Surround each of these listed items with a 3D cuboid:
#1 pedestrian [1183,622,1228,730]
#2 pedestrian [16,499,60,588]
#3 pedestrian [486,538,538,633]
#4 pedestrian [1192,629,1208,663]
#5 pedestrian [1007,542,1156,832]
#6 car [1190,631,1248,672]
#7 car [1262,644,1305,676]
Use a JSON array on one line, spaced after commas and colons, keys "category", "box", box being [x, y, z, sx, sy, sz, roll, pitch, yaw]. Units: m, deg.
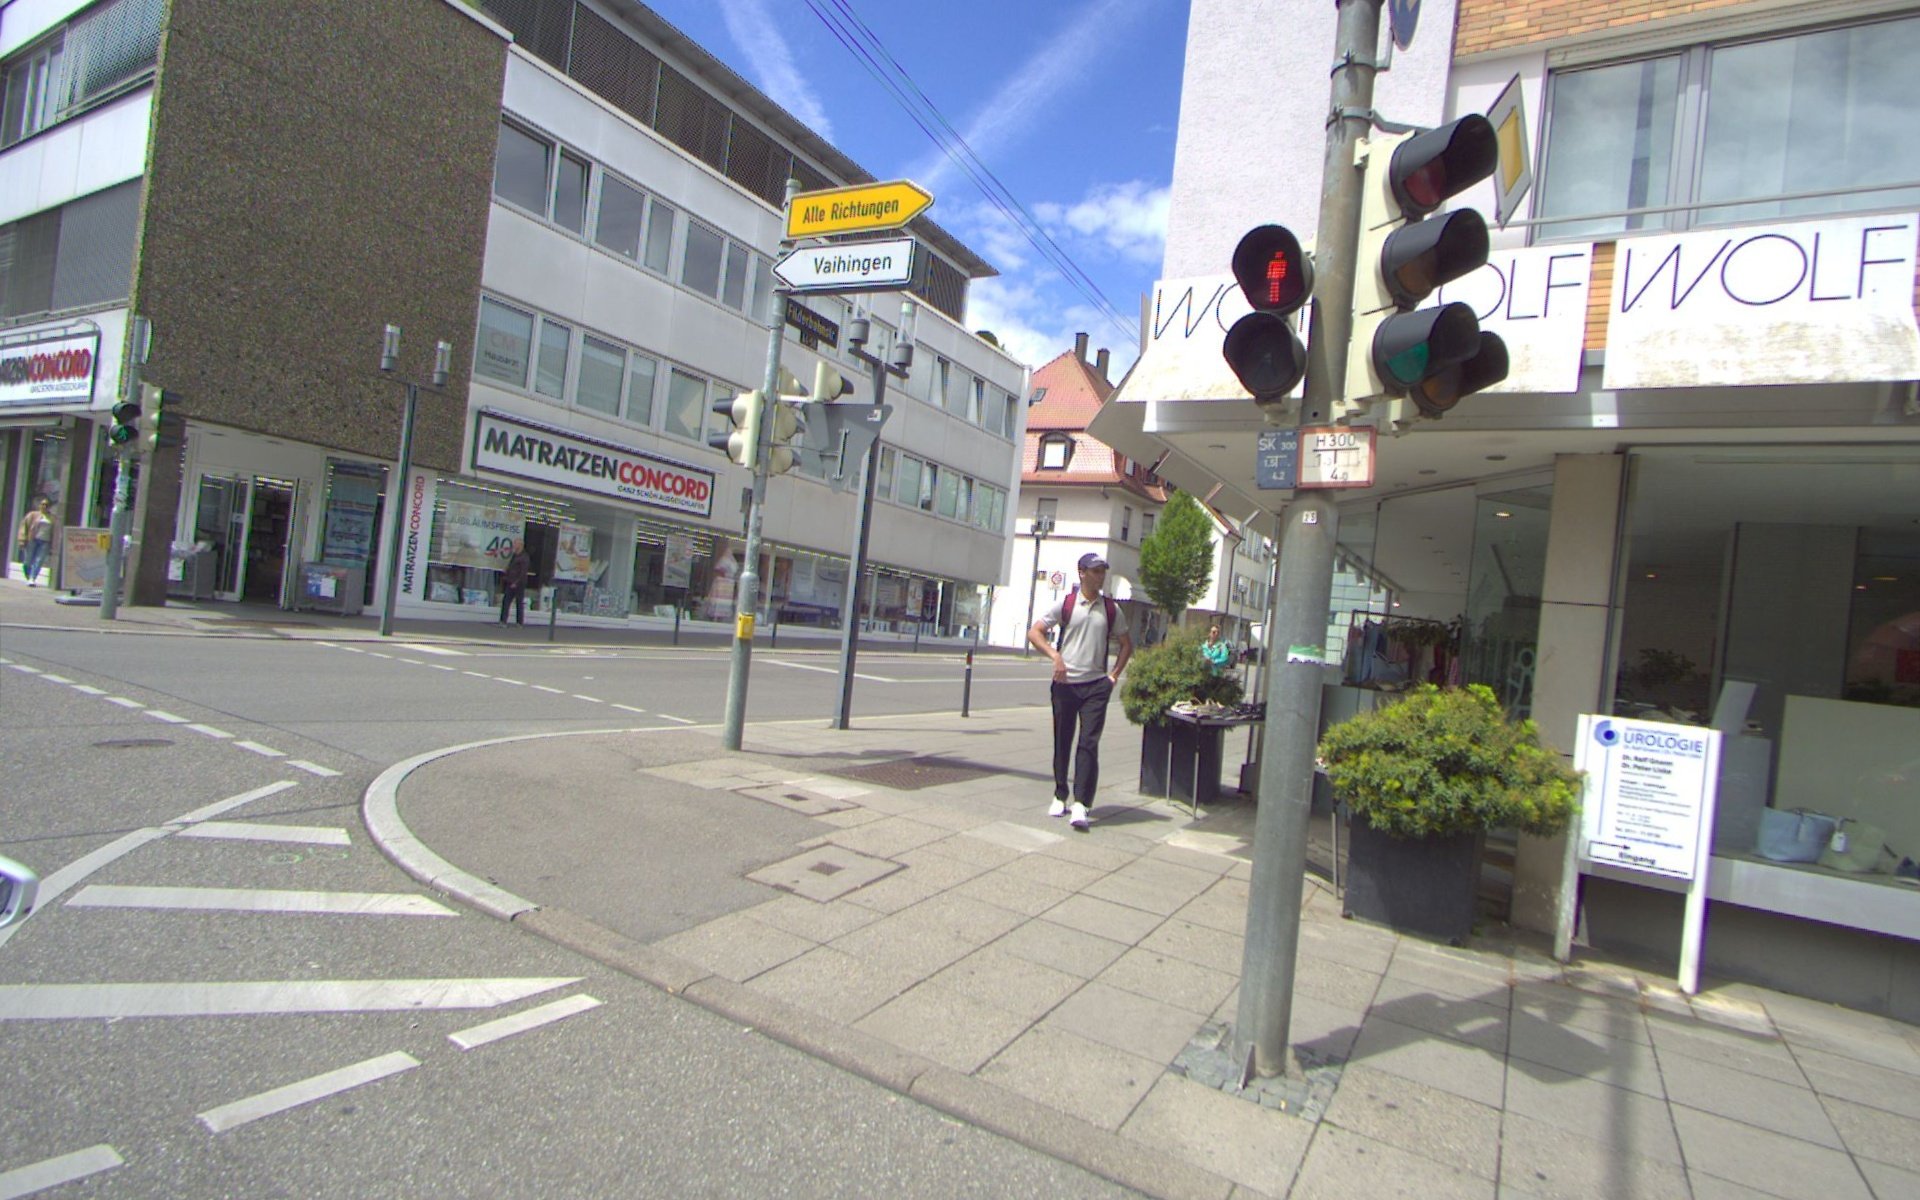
[{"category": "pedestrian", "box": [3.793, 1.171, 15.505, 0.519, 1.577, 0.589, 5, -2, 15]}, {"category": "pedestrian", "box": [-15.879, -0.969, 17.321, 0.502, 1.478, 0.493, 3, 3, -45]}, {"category": "pedestrian", "box": [-8.586, -0.281, 19.311, 0.608, 1.728, 0.579, 6, 2, 0]}, {"category": "pedestrian", "box": [12.751, 2.444, 53.523, 0.569, 1.728, 0.619, 7, 3, 22]}, {"category": "pedestrian", "box": [0.804, 0.564, 6.868, 0.762, 1.840, 0.612, 6, 4, 0]}, {"category": "car", "box": [12.713, 2.554, 49.266, 1.794, 1.669, 3.998, 5, -3, 28]}, {"category": "car", "box": [20.290, 3.775, 62.931, 1.794, 1.669, 3.998, 5, -3, 28]}]
